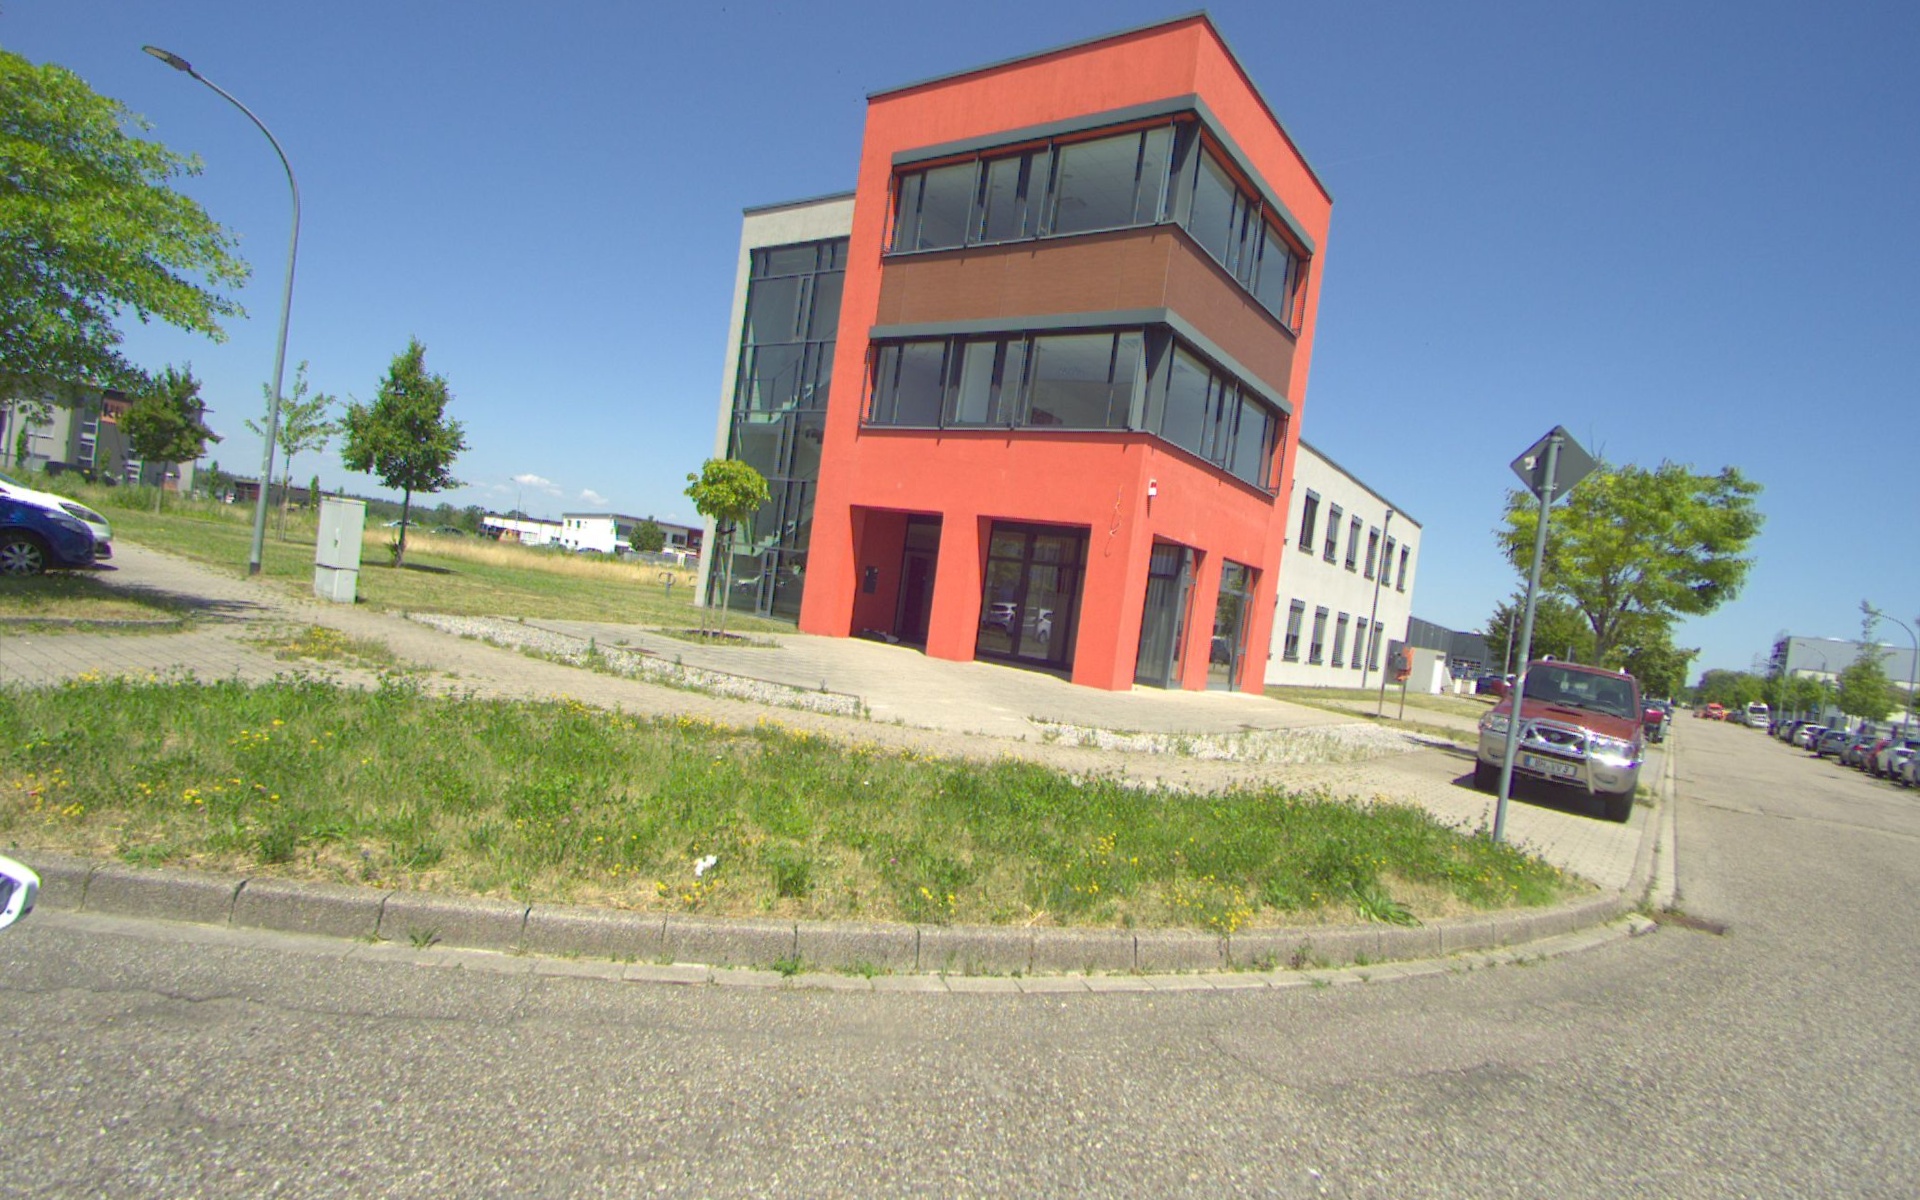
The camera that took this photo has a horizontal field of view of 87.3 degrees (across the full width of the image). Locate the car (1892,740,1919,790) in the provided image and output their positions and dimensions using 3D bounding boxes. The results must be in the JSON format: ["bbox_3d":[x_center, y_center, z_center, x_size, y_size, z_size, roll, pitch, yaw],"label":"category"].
[{"bbox_3d":[32.223,5.516,33.140,1.633,1.487,3.618,5,-1,35],"label":"car"}]

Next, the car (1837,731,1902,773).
[{"bbox_3d":[41.020,6.811,45.449,1.633,1.487,3.618,5,-1,35],"label":"car"}]

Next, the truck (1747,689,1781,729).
[{"bbox_3d":[80.612,10.934,100.941,1.775,3.631,7.412,8,0,35],"label":"truck"}]

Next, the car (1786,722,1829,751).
[{"bbox_3d":[53.454,8.598,63.505,1.633,1.487,3.618,5,-1,35],"label":"car"}]

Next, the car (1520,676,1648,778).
[{"bbox_3d":[12.296,2.415,19.803,1.758,1.460,3.698,11,2,33],"label":"car"}]

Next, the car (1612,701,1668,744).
[{"bbox_3d":[29.102,5.218,43.094,1.759,1.460,3.698,8,0,34],"label":"car"}]

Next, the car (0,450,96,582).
[{"bbox_3d":[-12.782,-1.160,11.640,1.703,1.510,3.987,9,4,41],"label":"car"}]

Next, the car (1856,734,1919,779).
[{"bbox_3d":[38.281,6.411,41.350,1.633,1.487,3.618,5,-1,35],"label":"car"}]

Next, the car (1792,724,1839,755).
[{"bbox_3d":[50.433,8.183,59.353,1.633,1.487,3.618,5,-1,35],"label":"car"}]

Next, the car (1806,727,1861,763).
[{"bbox_3d":[44.935,7.435,51.817,1.633,1.487,3.618,5,-1,35],"label":"car"}]

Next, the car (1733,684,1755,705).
[{"bbox_3d":[93.421,11.269,119.887,1.871,2.038,3.985,8,0,38],"label":"car"}]

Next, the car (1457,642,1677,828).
[{"bbox_3d":[8.133,1.728,13.303,1.783,1.797,3.987,11,1,38],"label":"car"}]

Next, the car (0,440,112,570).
[{"bbox_3d":[-14.224,-1.463,13.521,1.749,1.673,4.099,9,4,42],"label":"car"}]

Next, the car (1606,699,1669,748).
[{"bbox_3d":[25.844,4.665,38.428,1.759,1.460,3.698,8,0,34],"label":"car"}]

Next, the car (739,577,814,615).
[{"bbox_3d":[-9.231,-0.183,50.694,1.693,1.529,3.322,8,1,37],"label":"car"}]

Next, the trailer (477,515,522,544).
[{"bbox_3d":[-53.375,-8.183,116.697,2.198,2.632,3.987,8,1,36],"label":"trailer"}]

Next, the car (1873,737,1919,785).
[{"bbox_3d":[35.009,5.943,36.947,1.633,1.487,3.618,5,-1,35],"label":"car"}]
